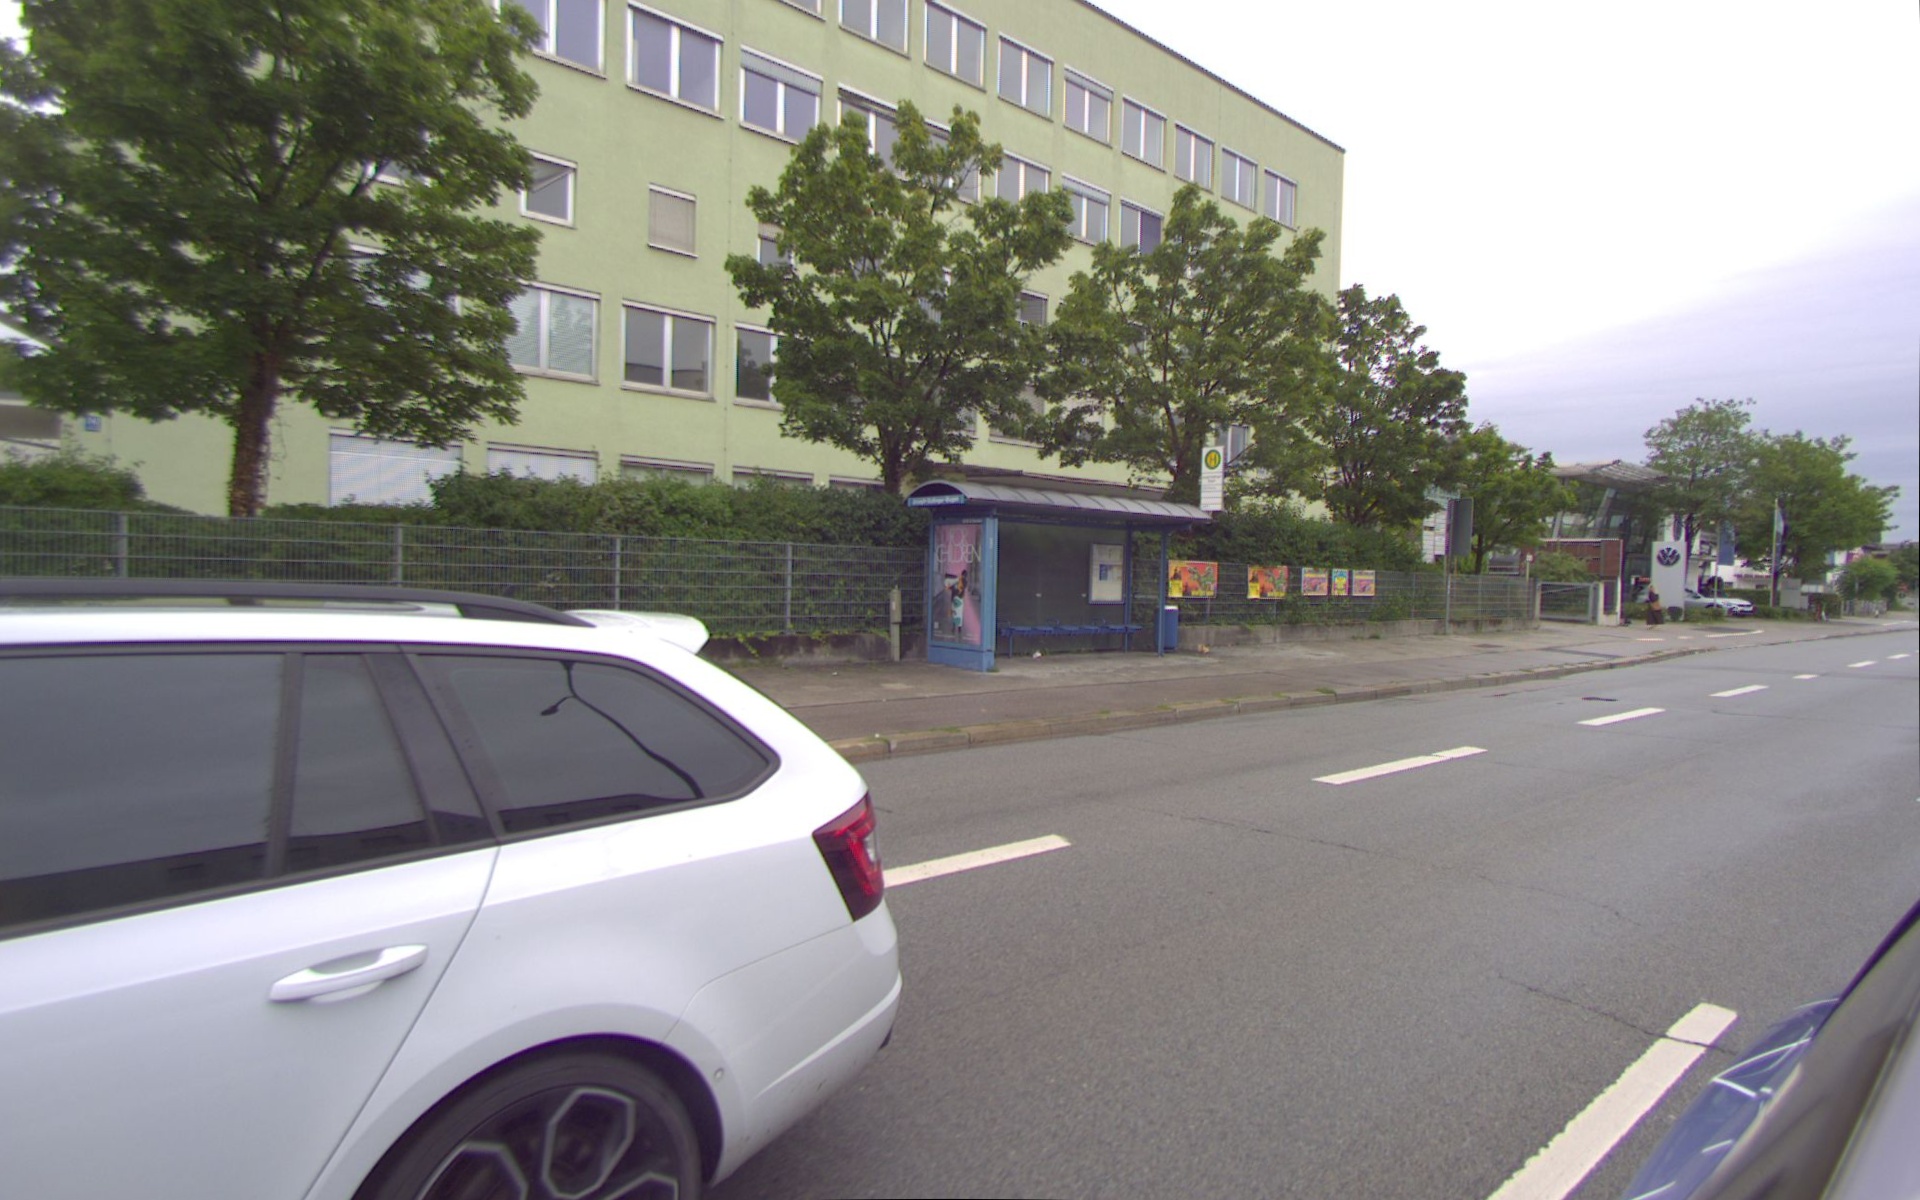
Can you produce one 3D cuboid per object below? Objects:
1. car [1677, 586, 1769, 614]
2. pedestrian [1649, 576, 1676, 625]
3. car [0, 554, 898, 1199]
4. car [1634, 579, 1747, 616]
[{"bbox_3d":[44.863,-0.017,59.573,1.763,1.528,4.009,0,1,-19],"label":"car"},{"bbox_3d":[27.015,0.003,38.909,0.676,1.844,0.682,0,0,-41],"label":"pedestrian"},{"bbox_3d":[-2.403,0.671,1.465,4.424,1.486,1.881,0,1,-42],"label":"car"},{"bbox_3d":[38.613,-0.136,53.646,4.603,1.865,1.784,1,1,28],"label":"car"}]
